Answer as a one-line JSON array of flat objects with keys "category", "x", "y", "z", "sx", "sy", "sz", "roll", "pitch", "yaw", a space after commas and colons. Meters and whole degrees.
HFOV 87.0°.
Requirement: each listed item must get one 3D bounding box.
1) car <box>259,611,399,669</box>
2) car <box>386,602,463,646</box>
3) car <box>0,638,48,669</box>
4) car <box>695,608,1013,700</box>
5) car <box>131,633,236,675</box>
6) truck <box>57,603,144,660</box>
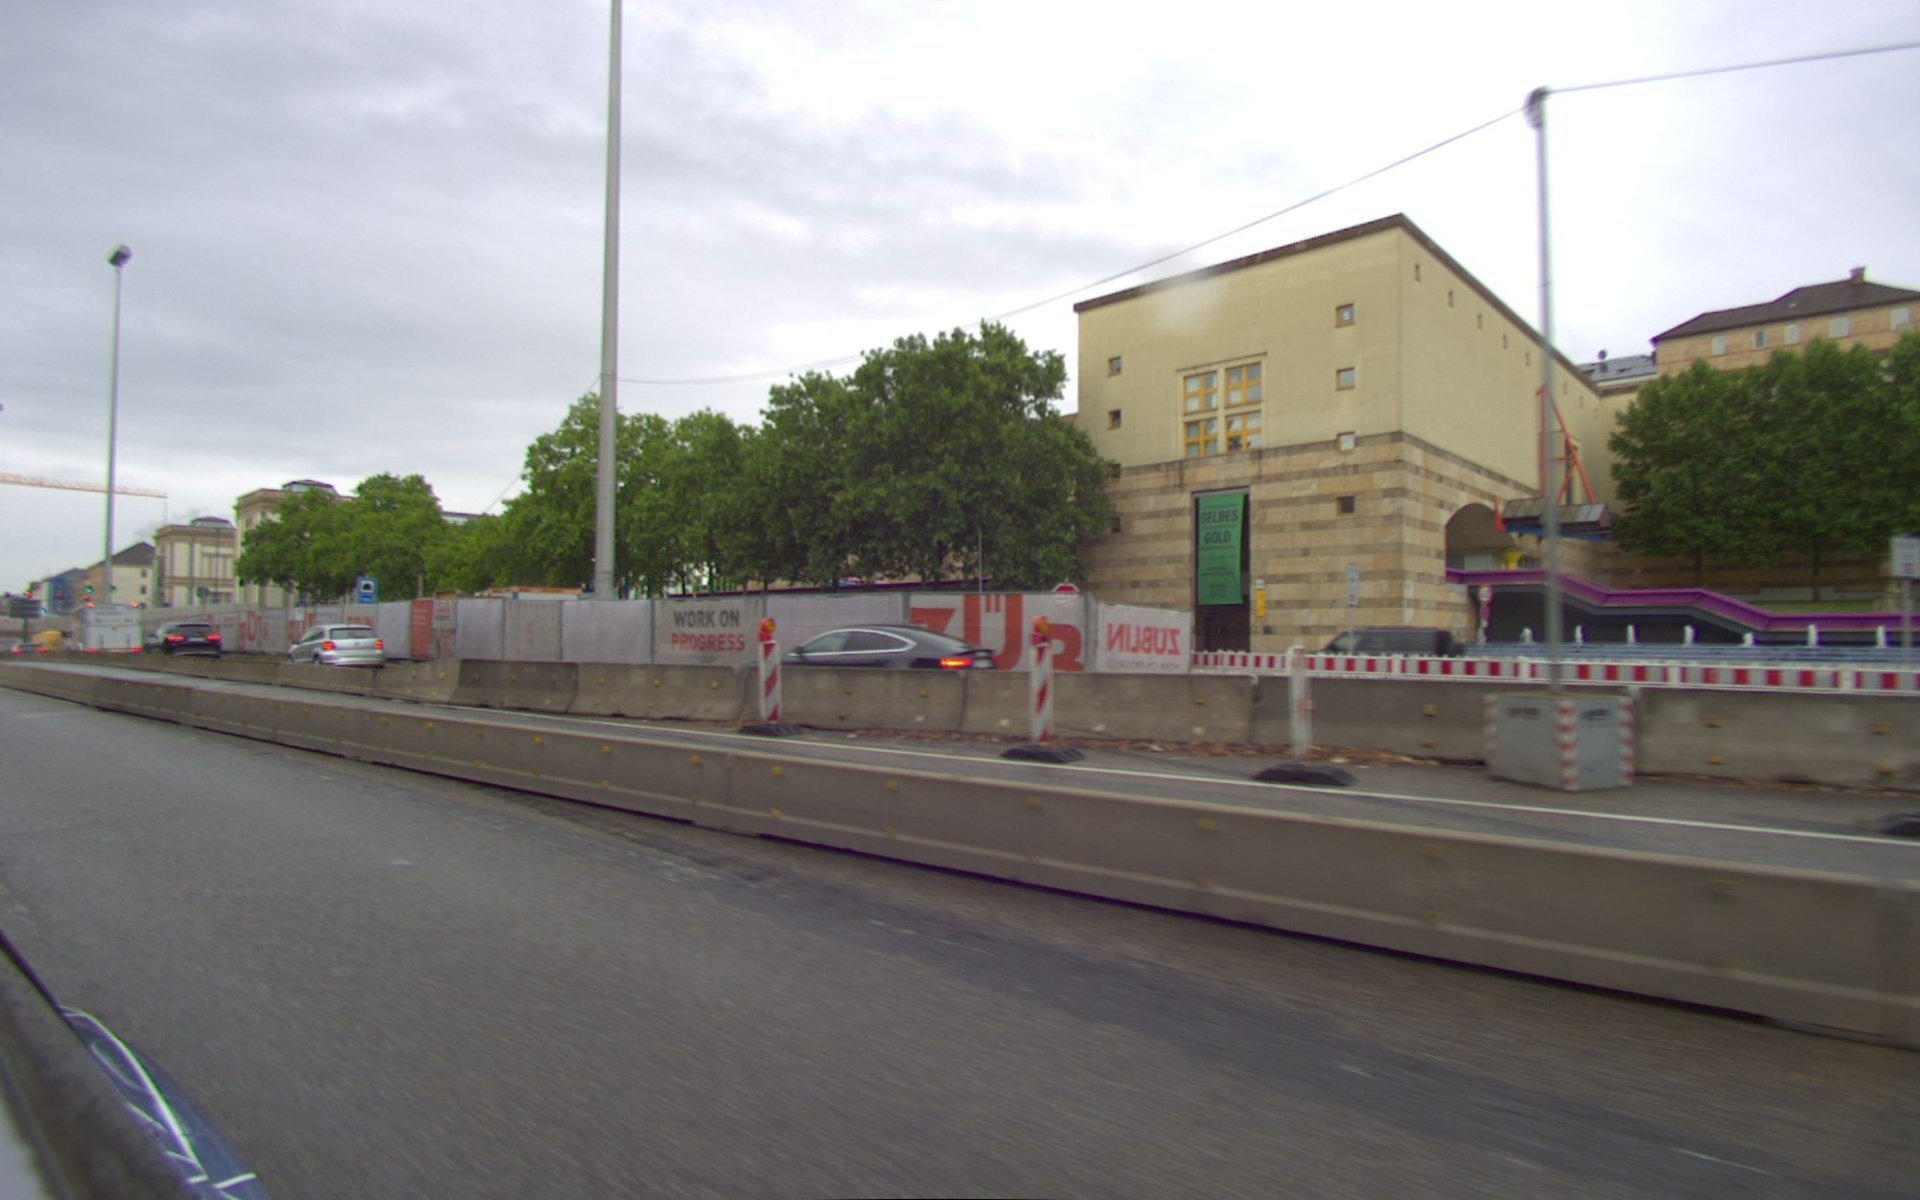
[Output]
[{"category": "car", "x": -18.008, "y": 1.133, "z": 28.845, "sx": 3.990, "sy": 1.542, "sz": 1.976, "roll": -1, "pitch": -3, "yaw": 35}, {"category": "car", "x": -26.837, "y": 1.239, "z": 50.692, "sx": 4.716, "sy": 2.029, "sz": 1.972, "roll": -3, "pitch": -3, "yaw": 43}, {"category": "car", "x": -64.924, "y": 3.684, "z": 70.030, "sx": 4.754, "sy": 2.029, "sz": 1.889, "roll": 0, "pitch": -3, "yaw": 40}, {"category": "car", "x": -1.698, "y": 0.801, "z": 15.828, "sx": 4.740, "sy": 1.272, "sz": 1.764, "roll": -1, "pitch": -1, "yaw": 26}, {"category": "car", "x": -30.653, "y": 2.100, "z": 39.896, "sx": 4.749, "sy": 1.542, "sz": 1.904, "roll": -1, "pitch": -3, "yaw": 35}, {"category": "truck", "x": -44.238, "y": 1.631, "z": 52.012, "sx": 7.351, "sy": 2.740, "sz": 2.372, "roll": -2, "pitch": -3, "yaw": 41}]
